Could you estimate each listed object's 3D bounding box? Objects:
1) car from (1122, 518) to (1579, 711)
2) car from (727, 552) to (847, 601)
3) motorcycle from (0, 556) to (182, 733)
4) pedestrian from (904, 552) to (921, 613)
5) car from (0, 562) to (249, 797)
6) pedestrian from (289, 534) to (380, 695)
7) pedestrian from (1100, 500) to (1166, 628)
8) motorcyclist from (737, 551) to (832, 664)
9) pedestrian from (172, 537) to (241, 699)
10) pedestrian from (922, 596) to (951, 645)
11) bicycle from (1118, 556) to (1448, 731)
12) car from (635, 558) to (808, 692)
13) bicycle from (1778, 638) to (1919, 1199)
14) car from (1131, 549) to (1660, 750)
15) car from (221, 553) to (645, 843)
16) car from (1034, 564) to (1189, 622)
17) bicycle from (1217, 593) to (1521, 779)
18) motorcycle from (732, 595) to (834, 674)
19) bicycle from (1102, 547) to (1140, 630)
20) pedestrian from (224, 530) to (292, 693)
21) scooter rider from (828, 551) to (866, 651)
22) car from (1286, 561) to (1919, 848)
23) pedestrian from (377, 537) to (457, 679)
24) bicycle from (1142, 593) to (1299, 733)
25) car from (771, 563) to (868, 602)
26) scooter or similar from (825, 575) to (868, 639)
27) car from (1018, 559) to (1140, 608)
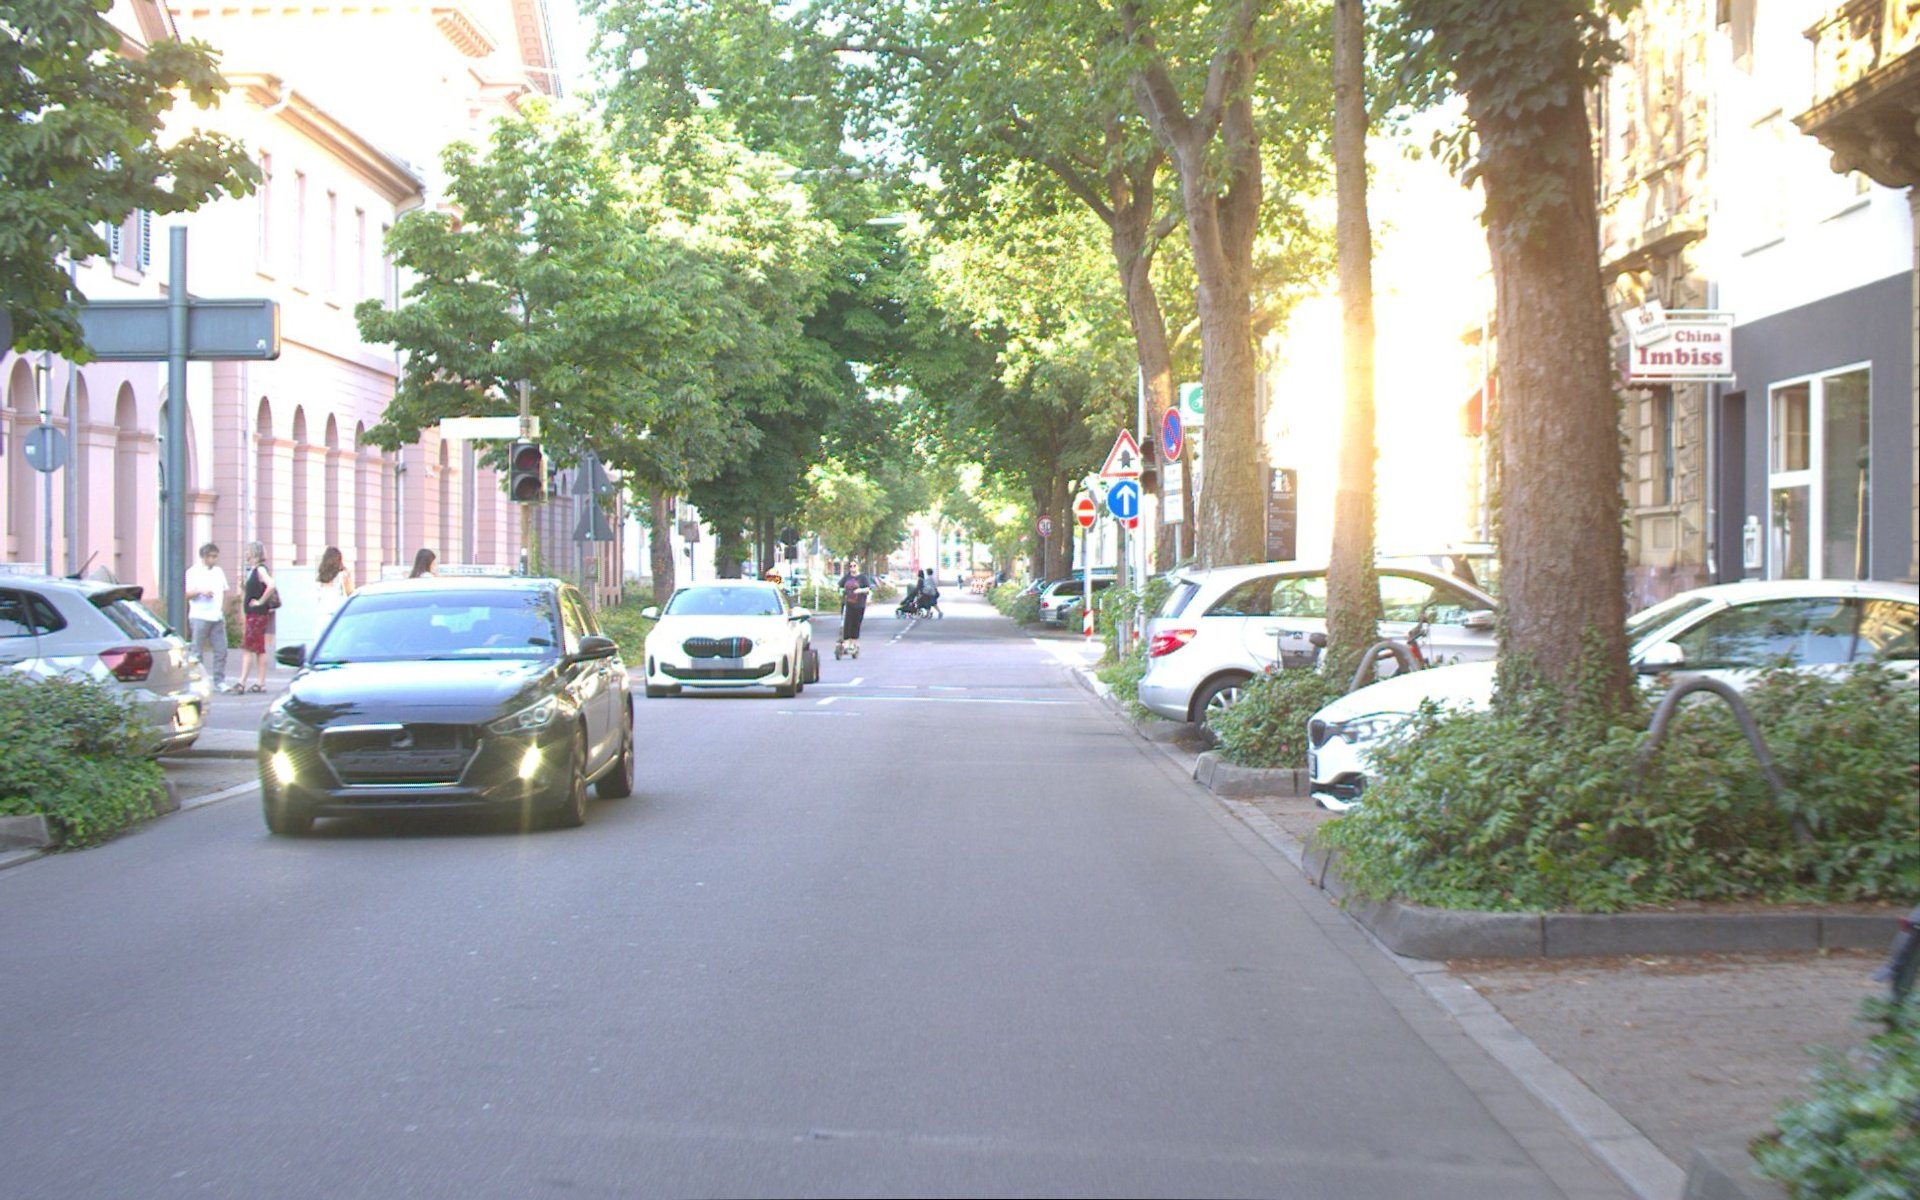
[{"bbox_3d":[4.065,0.138,36.325,4.540,1.908,1.950,-1,1,-2],"label":"car"},{"bbox_3d":[-7.483,-1.021,148.931,5.064,2.076,2.263,-1,1,0],"label":"car"},{"bbox_3d":[-7.588,0.362,28.273,2.150,1.414,0.967,0,0,22],"label":"motorcycle"},{"bbox_3d":[-1.584,-0.586,115.280,0.502,2.007,0.620,1,0,2],"label":"pedestrian"},{"bbox_3d":[-6.827,0.470,23.028,3.741,1.453,1.735,2,1,0],"label":"car"},{"bbox_3d":[-7.107,0.155,39.091,0.790,1.785,0.771,3,1,3],"label":"pedestrian"},{"bbox_3d":[2.938,-0.610,58.426,1.043,2.139,1.063,1,0,1],"label":"pedestrian"},{"bbox_3d":[-2.492,0.094,48.906,1.280,1.586,1.077,0,0,0],"label":"motorcyclist"},{"bbox_3d":[-8.700,0.203,39.693,0.554,1.844,0.611,0,0,15],"label":"pedestrian"},{"bbox_3d":[-0.777,0.688,115.747,0.875,1.644,0.655,1,0,8],"label":"pedestrian"},{"bbox_3d":[3.139,0.417,33.524,3.113,1.657,0.658,1,0,-4],"label":"bicycle"},{"bbox_3d":[-2.887,0.270,42.316,1.877,1.543,4.275,-1,1,-1],"label":"car"},{"bbox_3d":[2.883,0.791,7.500,2.046,1.356,0.508,1,1,-1],"label":"bicycle"},{"bbox_3d":[3.564,0.391,28.720,4.225,1.555,1.970,-1,1,4],"label":"car"},{"bbox_3d":[-3.052,0.508,20.760,1.877,1.543,4.275,-1,1,0],"label":"car"},{"bbox_3d":[4.161,-0.197,94.912,4.192,1.475,1.852,-2,1,0],"label":"car"},{"bbox_3d":[2.851,0.589,23.986,2.019,1.200,0.488,-2,0,-12],"label":"bicycle"},{"bbox_3d":[-2.493,0.500,48.832,1.312,1.087,2.396,0,-1,0],"label":"motorcycle"},{"bbox_3d":[2.696,-0.205,57.557,0.417,1.367,1.287,-1,1,11],"label":"bicycle"},{"bbox_3d":[-8.056,0.123,39.465,0.554,1.844,0.611,1,2,15],"label":"pedestrian"},{"bbox_3d":[-2.037,0.016,62.045,0.494,1.785,0.874,0,0,10],"label":"scooter rider"},{"bbox_3d":[4.107,0.522,18.435,4.584,1.432,1.925,0,1,2],"label":"car"},{"bbox_3d":[-6.725,0.101,42.551,0.842,1.732,0.777,1,0,-17],"label":"pedestrian"},{"bbox_3d":[2.311,0.556,30.564,1.337,1.200,0.488,-1,0,0],"label":"bicycle"},{"bbox_3d":[-7.576,-0.956,185.259,5.064,2.076,2.263,-1,1,1],"label":"car"},{"bbox_3d":[-2.046,0.120,61.999,0.502,1.141,1.249,0,0,11],"label":"scooter or similar"},{"bbox_3d":[3.998,-0.566,116.033,4.014,1.617,1.781,-1,1,-1],"label":"car"}]
